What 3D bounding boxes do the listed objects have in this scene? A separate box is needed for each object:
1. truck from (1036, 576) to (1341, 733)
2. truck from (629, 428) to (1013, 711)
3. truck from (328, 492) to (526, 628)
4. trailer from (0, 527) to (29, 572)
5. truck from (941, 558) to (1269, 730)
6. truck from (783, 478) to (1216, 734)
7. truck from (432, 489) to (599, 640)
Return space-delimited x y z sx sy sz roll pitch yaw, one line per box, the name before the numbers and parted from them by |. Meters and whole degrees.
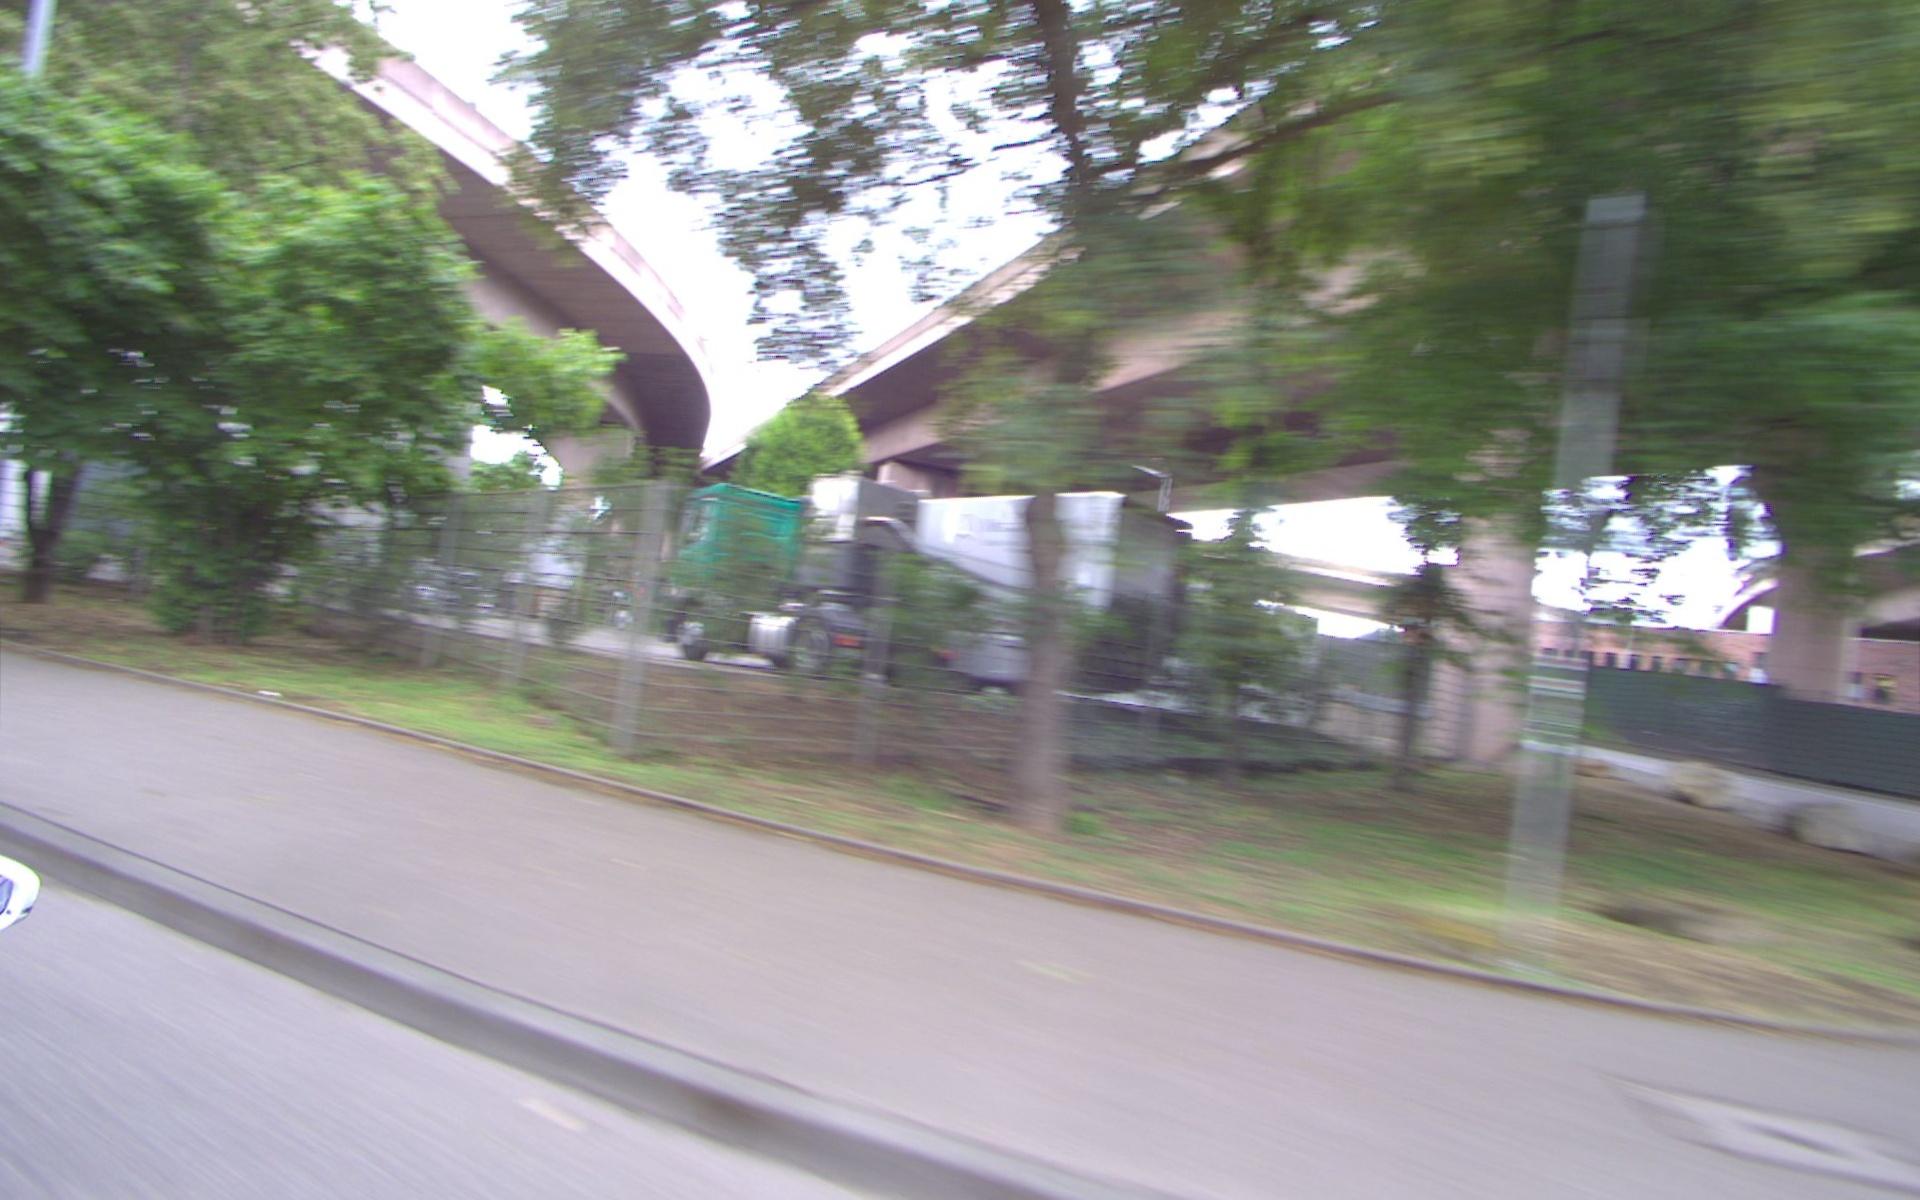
truck | 5.397 1.233 24.592 6.473 2.934 2.909 6 -1 45
truck | -2.765 -0.565 18.030 3.057 4.011 6.838 7 -1 -43
truck | -17.812 -1.421 33.327 7.807 3.662 3.051 7 -1 43
trailer | -20.341 -1.248 18.837 6.182 0.753 2.153 6 1 26
truck | 3.001 0.872 22.260 6.473 2.934 2.909 6 -1 45
truck | 0.382 -0.059 19.265 7.944 3.914 3.059 6 -1 45
truck | -16.868 -1.425 37.840 3.190 4.838 7.957 7 -1 -40
